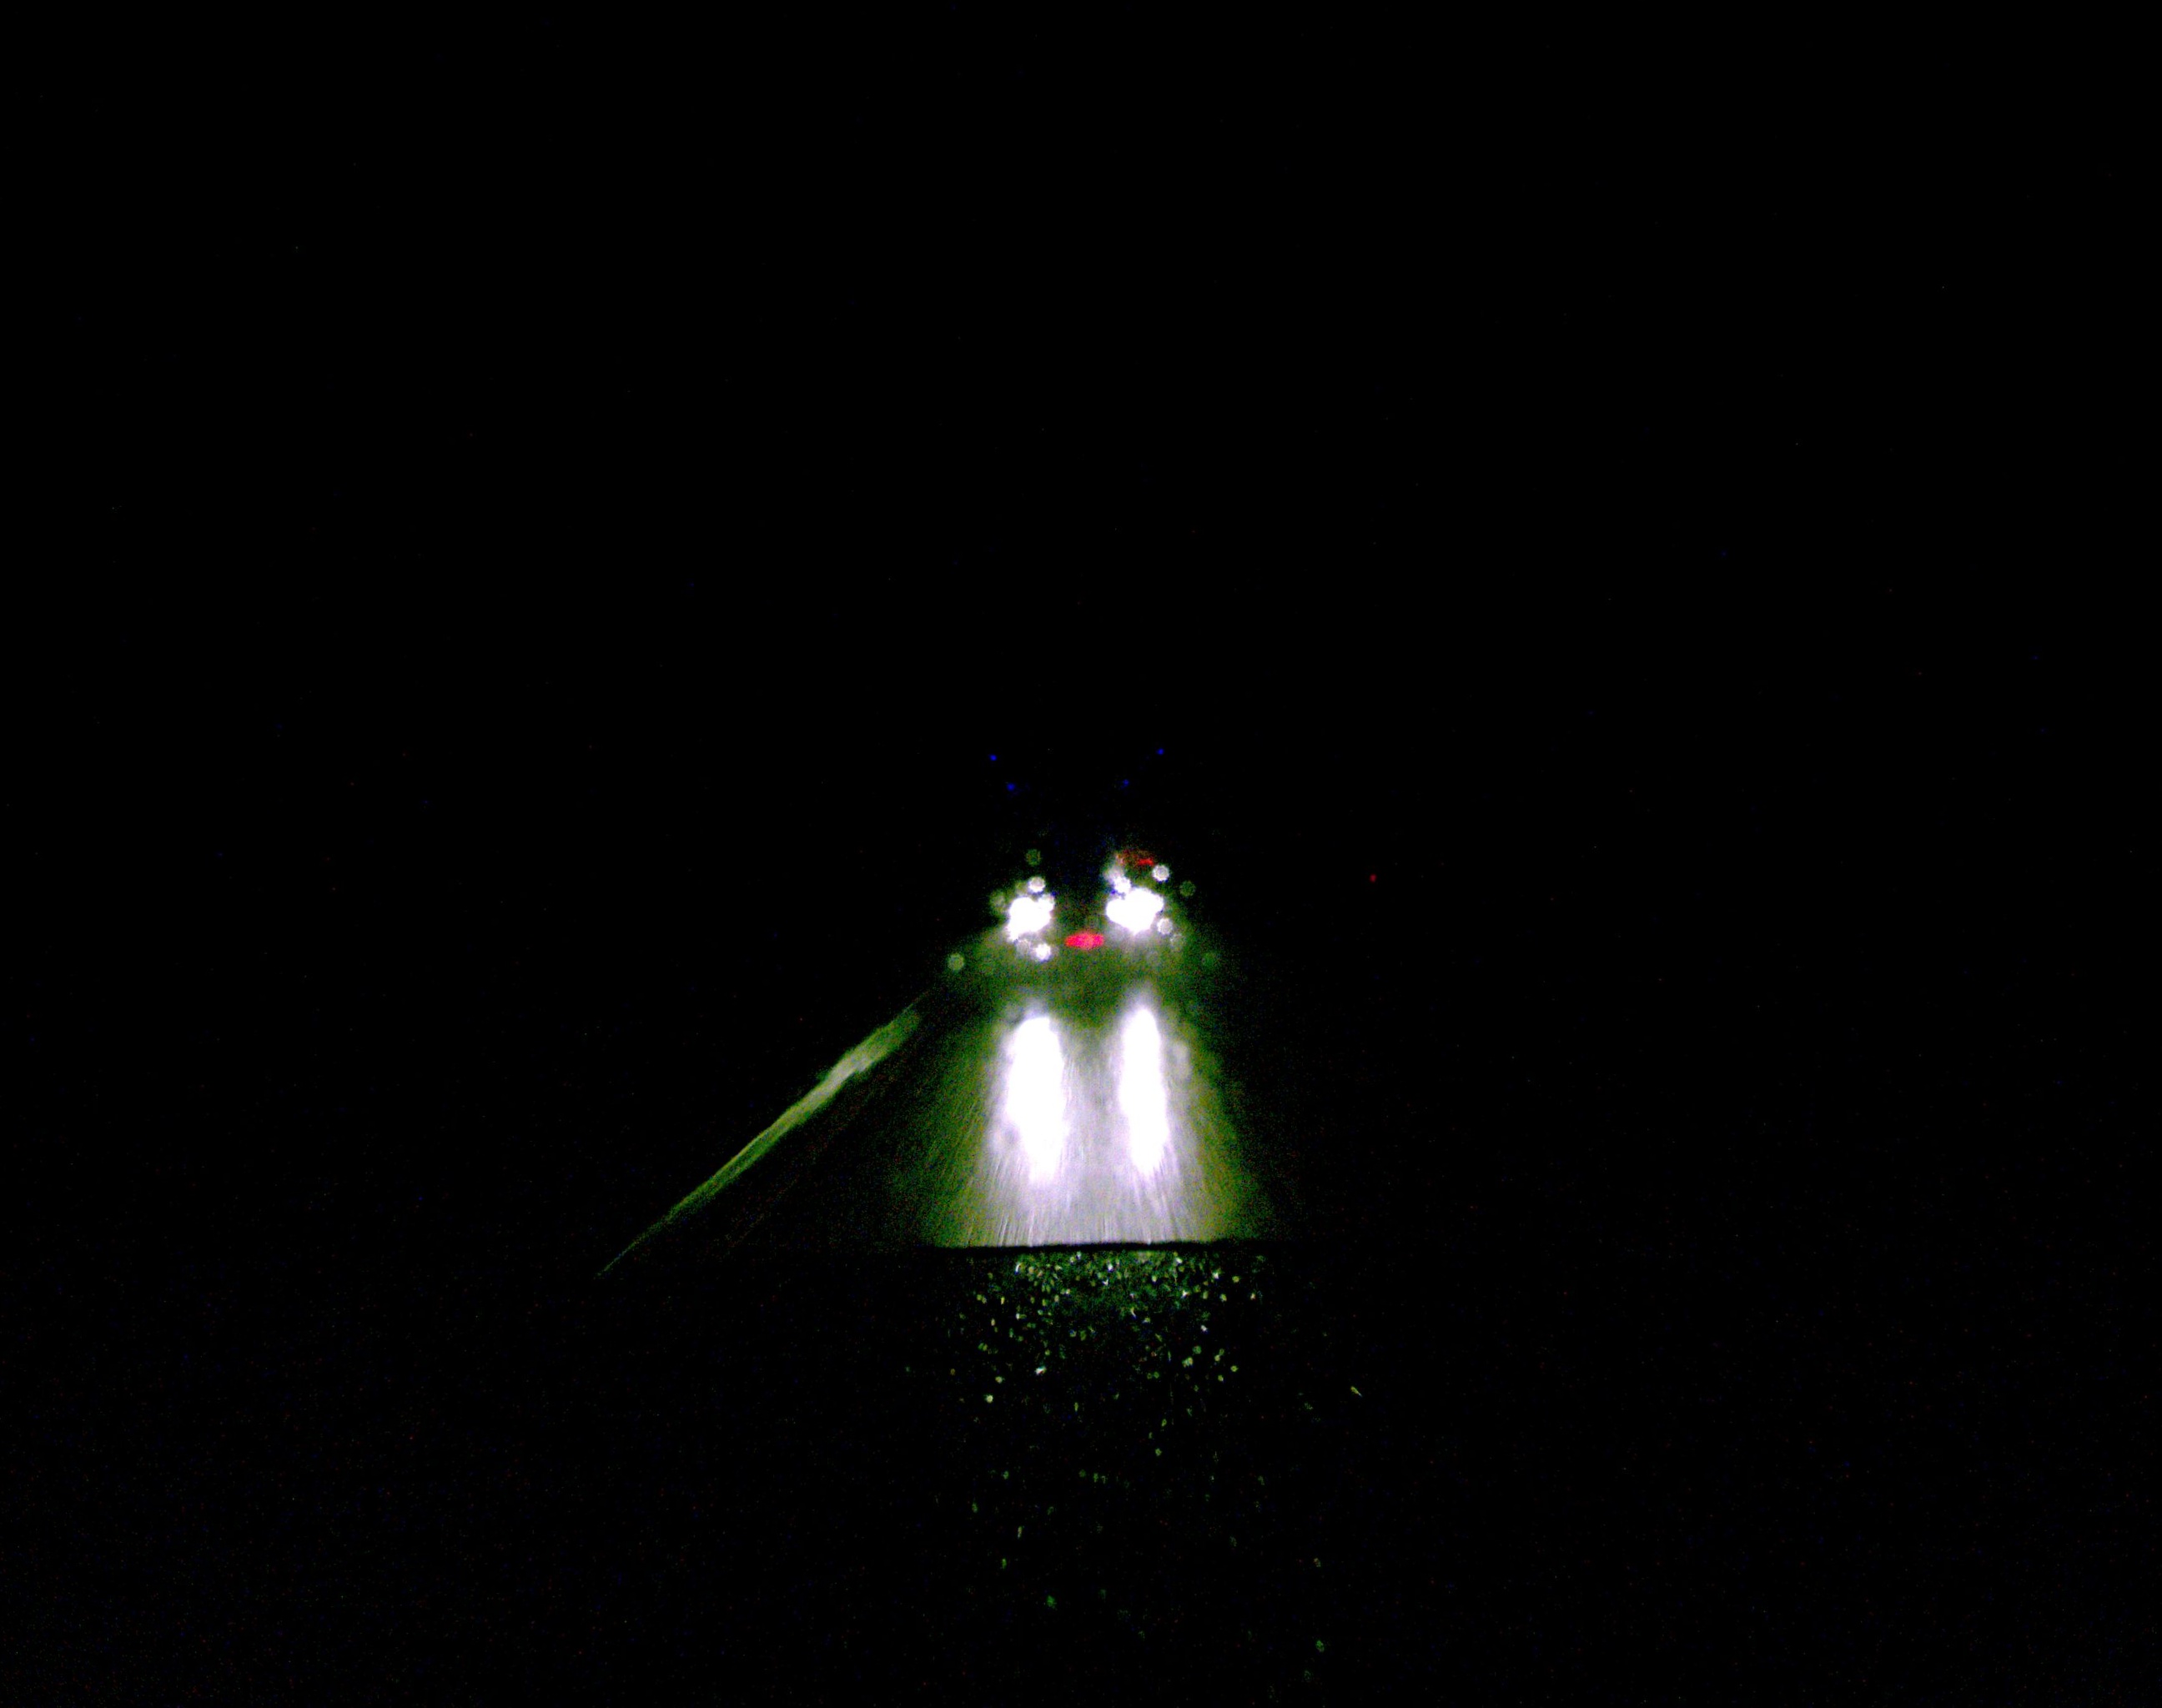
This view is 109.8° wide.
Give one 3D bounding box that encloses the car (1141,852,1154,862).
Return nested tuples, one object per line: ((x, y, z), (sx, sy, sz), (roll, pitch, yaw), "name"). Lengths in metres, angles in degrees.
((11.389, 0.515, 130.332), (1.867, 1.535, 4.230), (-3, -1, 1), "car")

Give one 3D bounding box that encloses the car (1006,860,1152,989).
((0.077, 0.958, 12.340), (1.862, 1.601, 4.420), (-3, 0, 3), "car")
